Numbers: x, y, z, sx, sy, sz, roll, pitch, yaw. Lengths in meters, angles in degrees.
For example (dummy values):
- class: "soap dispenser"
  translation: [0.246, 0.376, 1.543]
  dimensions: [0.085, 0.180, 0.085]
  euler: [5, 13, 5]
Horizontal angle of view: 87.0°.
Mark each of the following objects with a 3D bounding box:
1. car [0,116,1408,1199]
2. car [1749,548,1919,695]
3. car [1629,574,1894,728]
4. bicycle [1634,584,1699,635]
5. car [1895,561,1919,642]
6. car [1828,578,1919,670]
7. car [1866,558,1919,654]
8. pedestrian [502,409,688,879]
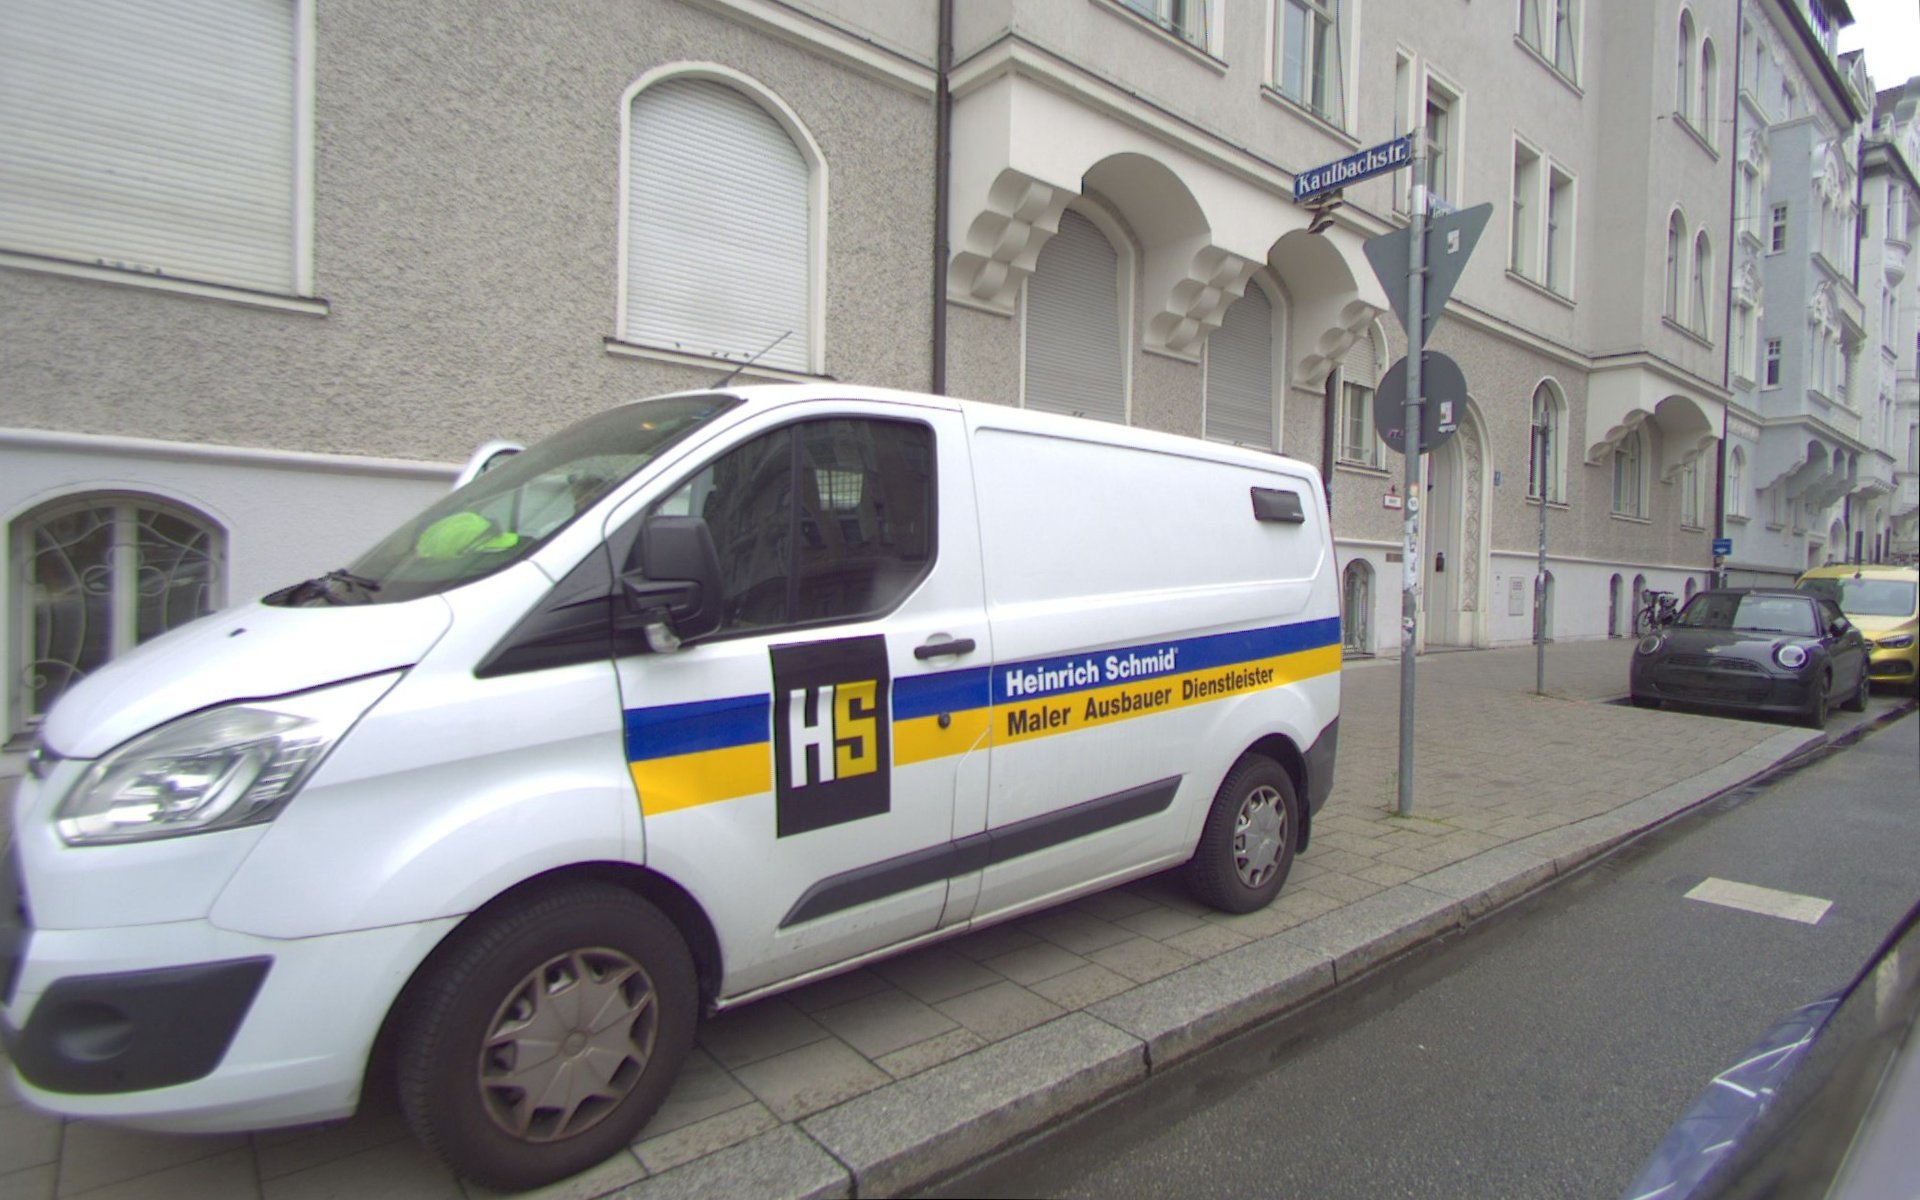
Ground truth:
- class: "car"
  translation: [-0.357, 0.201, 3.862]
  dimensions: [4.843, 1.985, 1.919]
  euler: [0, 3, -42]
- class: "car"
  translation: [13.641, 0.241, 15.100]
  dimensions: [4.733, 1.876, 1.855]
  euler: [0, 2, -39]
- class: "car"
  translation: [9.378, 0.477, 11.740]
  dimensions: [3.827, 1.475, 1.667]
  euler: [0, 2, -40]
- class: "bicycle"
  translation: [16.339, 0.207, 23.385]
  dimensions: [2.001, 1.107, 0.696]
  euler: [0, 4, -40]
- class: "car"
  translation: [26.270, 0.052, 26.689]
  dimensions: [4.909, 2.038, 1.962]
  euler: [0, 3, -43]
- class: "car"
  translation: [17.331, 0.396, 18.485]
  dimensions: [3.716, 1.502, 1.635]
  euler: [0, 3, -40]
- class: "car"
  translation: [21.717, 0.128, 22.440]
  dimensions: [4.909, 1.961, 1.962]
  euler: [0, 3, -43]
- class: "pedestrian"
  translation: [-1.579, 0.178, 4.464]
  dimensions: [0.663, 1.911, 0.594]
  euler: [1, 1, -12]
